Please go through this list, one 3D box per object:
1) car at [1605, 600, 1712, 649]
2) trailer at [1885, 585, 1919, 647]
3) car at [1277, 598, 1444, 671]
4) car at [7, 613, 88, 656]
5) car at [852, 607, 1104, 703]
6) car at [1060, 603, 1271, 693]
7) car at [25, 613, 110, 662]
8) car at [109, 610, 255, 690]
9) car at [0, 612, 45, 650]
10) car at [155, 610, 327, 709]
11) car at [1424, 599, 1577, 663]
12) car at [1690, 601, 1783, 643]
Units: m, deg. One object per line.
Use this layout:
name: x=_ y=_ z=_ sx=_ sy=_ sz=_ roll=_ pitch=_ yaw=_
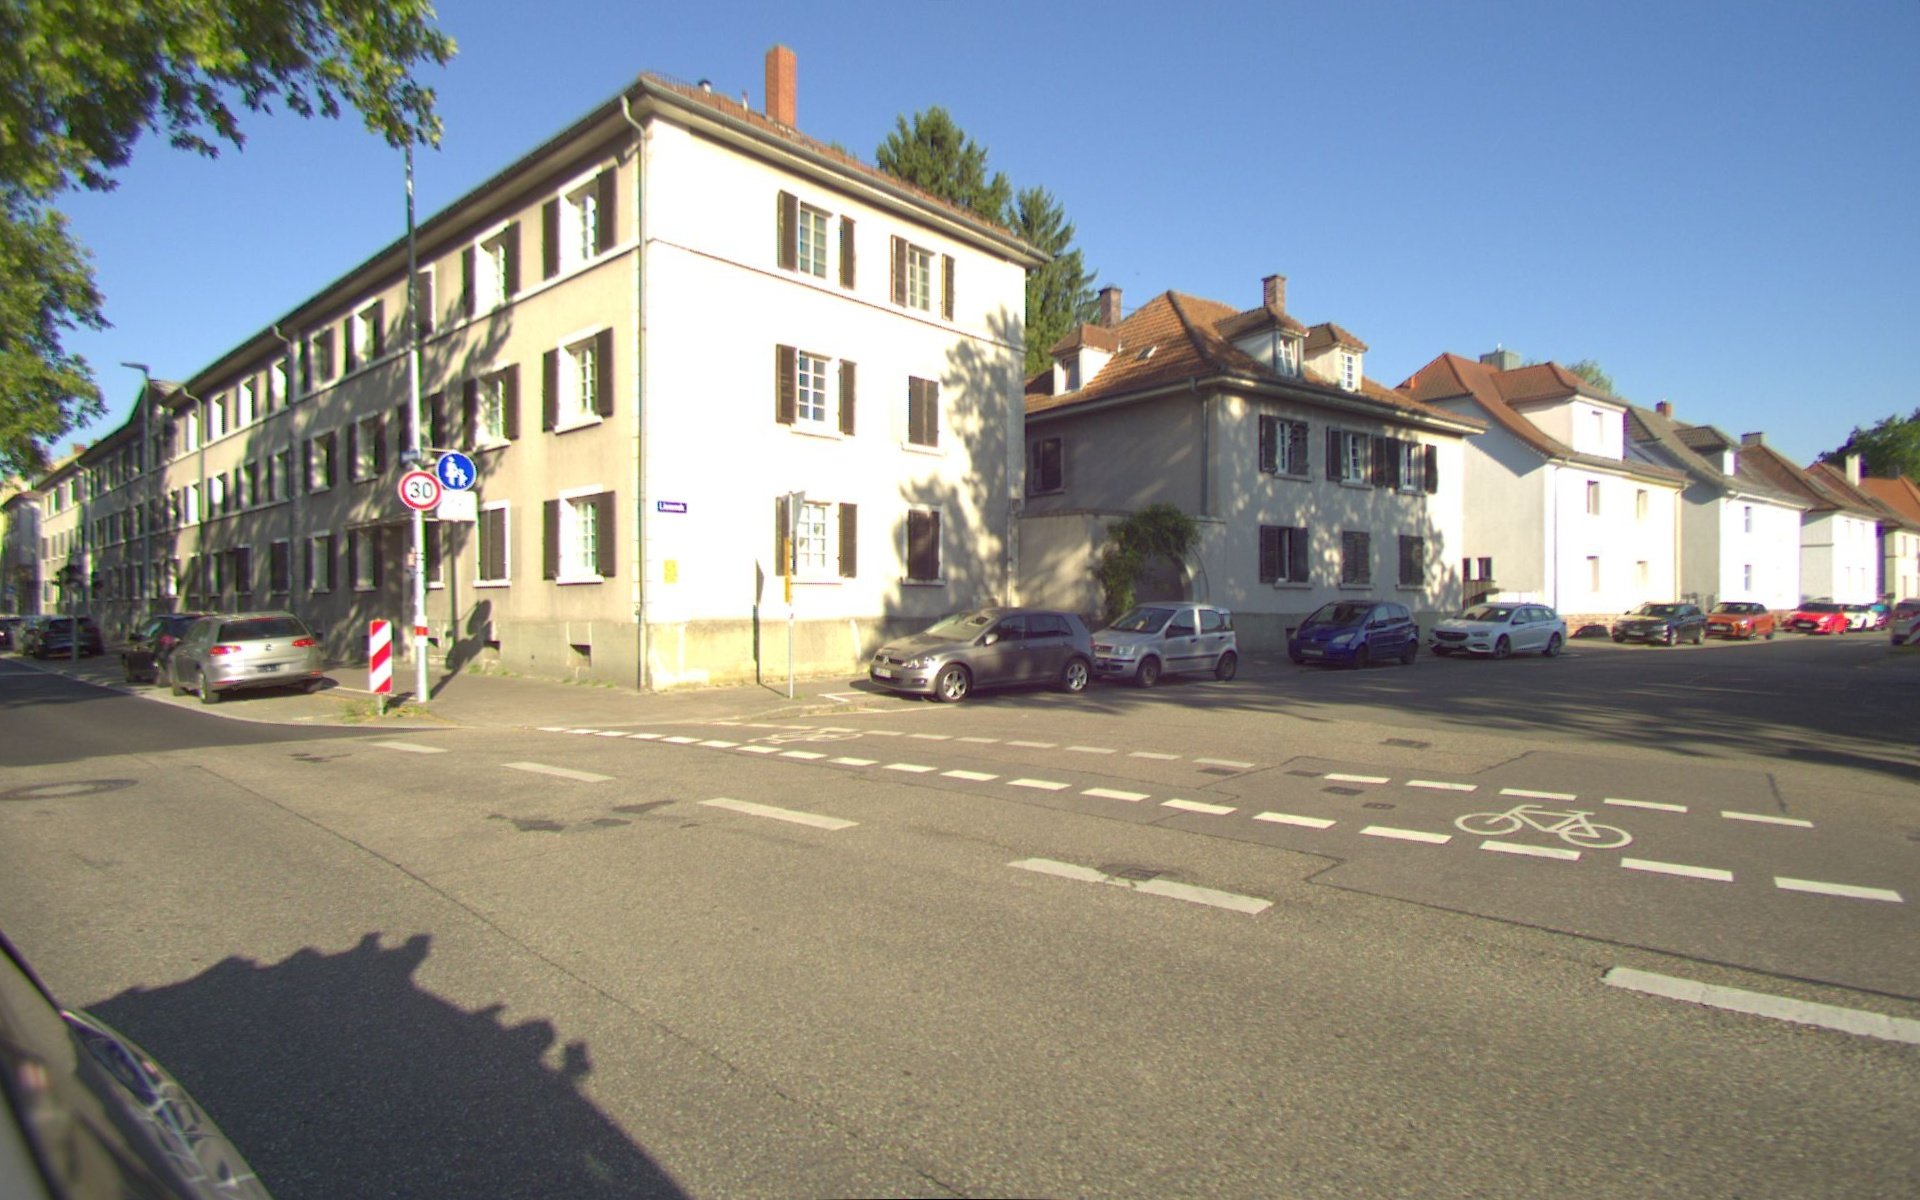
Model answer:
car: x=24.689 y=0.812 z=35.731 sx=3.934 sy=1.573 sz=1.869 roll=0 pitch=2 yaw=-36
trailer: x=33.337 y=0.523 z=34.352 sx=3.606 sy=2.029 sz=2.182 roll=0 pitch=-1 yaw=-37
car: x=9.583 y=0.757 z=24.136 sx=3.934 sy=1.573 sz=1.869 roll=0 pitch=1 yaw=-36
car: x=-35.519 y=1.312 z=39.374 sx=4.085 sy=1.494 sz=1.846 roll=-1 pitch=1 yaw=41
car: x=0.351 y=0.850 z=17.294 sx=3.934 sy=1.429 sz=1.919 roll=0 pitch=0 yaw=-36
car: x=4.066 y=0.859 z=19.844 sx=3.934 sy=1.573 sz=1.869 roll=0 pitch=-1 yaw=-36
car: x=-31.079 y=1.263 z=35.203 sx=4.088 sy=1.494 sz=1.845 roll=-1 pitch=2 yaw=44
car: x=-17.038 y=1.019 z=22.100 sx=4.051 sy=1.518 sz=1.689 roll=-1 pitch=1 yaw=41
car: x=-42.920 y=1.375 z=45.698 sx=4.084 sy=1.624 sz=1.846 roll=-1 pitch=0 yaw=40
car: x=-12.948 y=0.971 z=18.136 sx=4.109 sy=1.494 sz=1.742 roll=-1 pitch=1 yaw=44
car: x=14.934 y=0.795 z=27.895 sx=4.602 sy=1.573 sz=1.869 roll=0 pitch=1 yaw=-36
car: x=30.895 y=0.855 z=40.239 sx=3.934 sy=1.573 sz=1.869 roll=0 pitch=-1 yaw=-36
